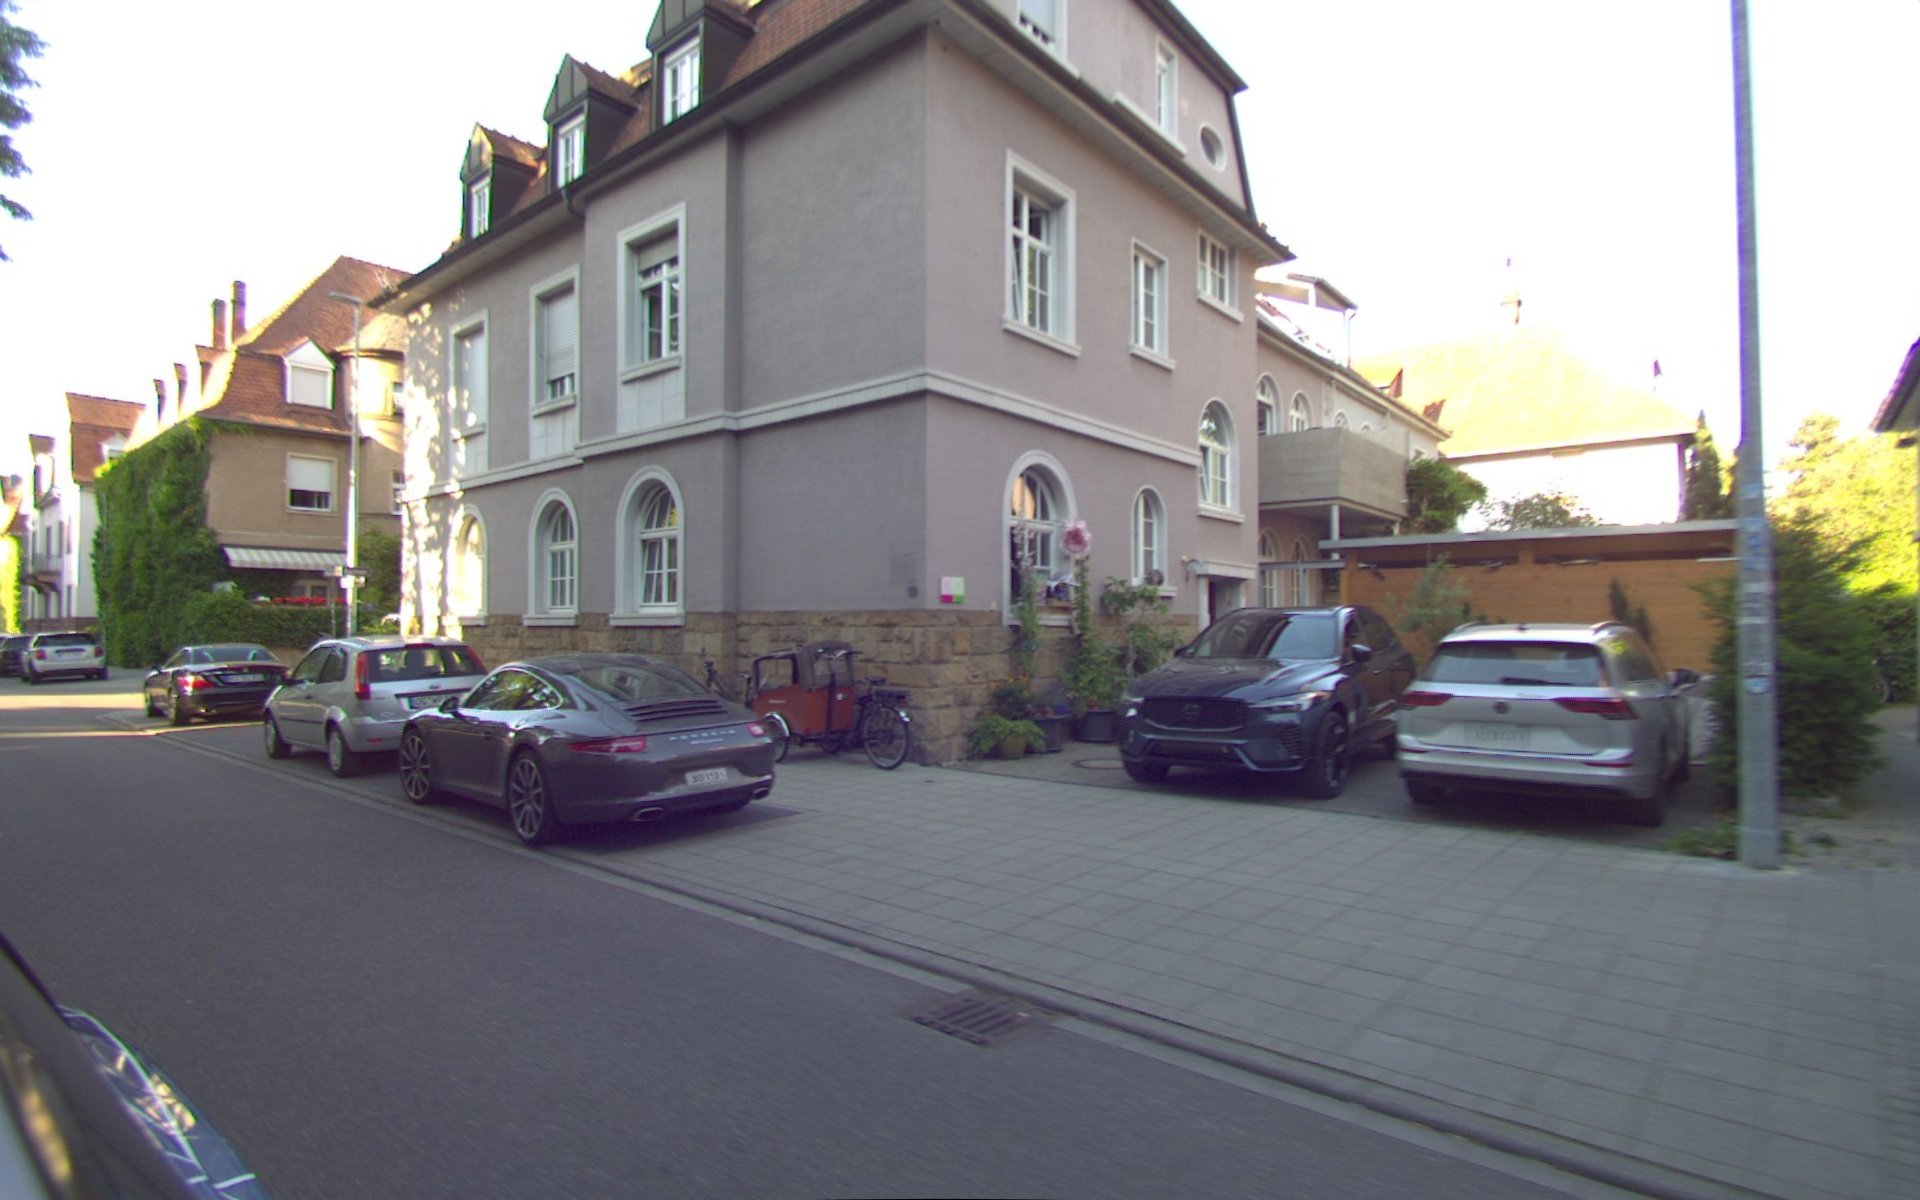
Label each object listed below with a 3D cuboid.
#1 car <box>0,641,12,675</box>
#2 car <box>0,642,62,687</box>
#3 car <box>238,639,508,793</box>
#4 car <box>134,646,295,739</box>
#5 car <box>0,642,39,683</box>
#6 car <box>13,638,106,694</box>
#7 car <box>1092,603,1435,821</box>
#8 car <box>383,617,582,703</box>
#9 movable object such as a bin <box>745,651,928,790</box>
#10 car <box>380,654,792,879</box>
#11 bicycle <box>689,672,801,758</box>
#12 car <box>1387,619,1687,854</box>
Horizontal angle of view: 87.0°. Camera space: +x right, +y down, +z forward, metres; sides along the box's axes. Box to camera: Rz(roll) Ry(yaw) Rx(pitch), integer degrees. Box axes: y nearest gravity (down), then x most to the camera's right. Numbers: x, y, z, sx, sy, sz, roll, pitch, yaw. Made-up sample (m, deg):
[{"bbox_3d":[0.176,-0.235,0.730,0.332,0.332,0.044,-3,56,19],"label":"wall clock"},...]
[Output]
[{"bbox_3d":[-44.033,2.603,45.253,4.772,1.472,1.775,-2,-1,39],"label":"car"},{"bbox_3d":[-31.656,2.147,34.125,3.720,1.390,1.668,-2,-1,42],"label":"car"},{"bbox_3d":[-7.021,1.226,11.931,3.959,1.456,1.636,-2,-1,42],"label":"car"},{"bbox_3d":[-13.283,1.548,17.938,4.046,1.334,1.635,-2,-1,44],"label":"car"},{"bbox_3d":[-35.777,2.318,37.800,4.097,1.431,1.632,-2,-1,42],"label":"car"},{"bbox_3d":[-26.412,1.885,29.635,3.917,1.471,1.685,-2,-1,43],"label":"car"},{"bbox_3d":[3.066,0.889,9.703,1.895,1.634,3.827,-3,-2,37],"label":"car"},{"bbox_3d":[-12.646,1.512,27.026,1.998,2.029,4.358,1,0,39],"label":"car"},{"bbox_3d":[-1.342,1.204,10.682,2.095,1.293,0.714,-2,-2,42],"label":"movable object such as a bin"},{"bbox_3d":[-3.280,1.147,8.354,4.228,1.329,1.514,-3,-2,44],"label":"car"},{"bbox_3d":[-2.635,1.364,12.290,1.721,0.944,0.389,-2,-3,42],"label":"bicycle"},{"bbox_3d":[4.943,0.916,8.405,1.632,1.454,3.827,-3,-2,37],"label":"car"}]
